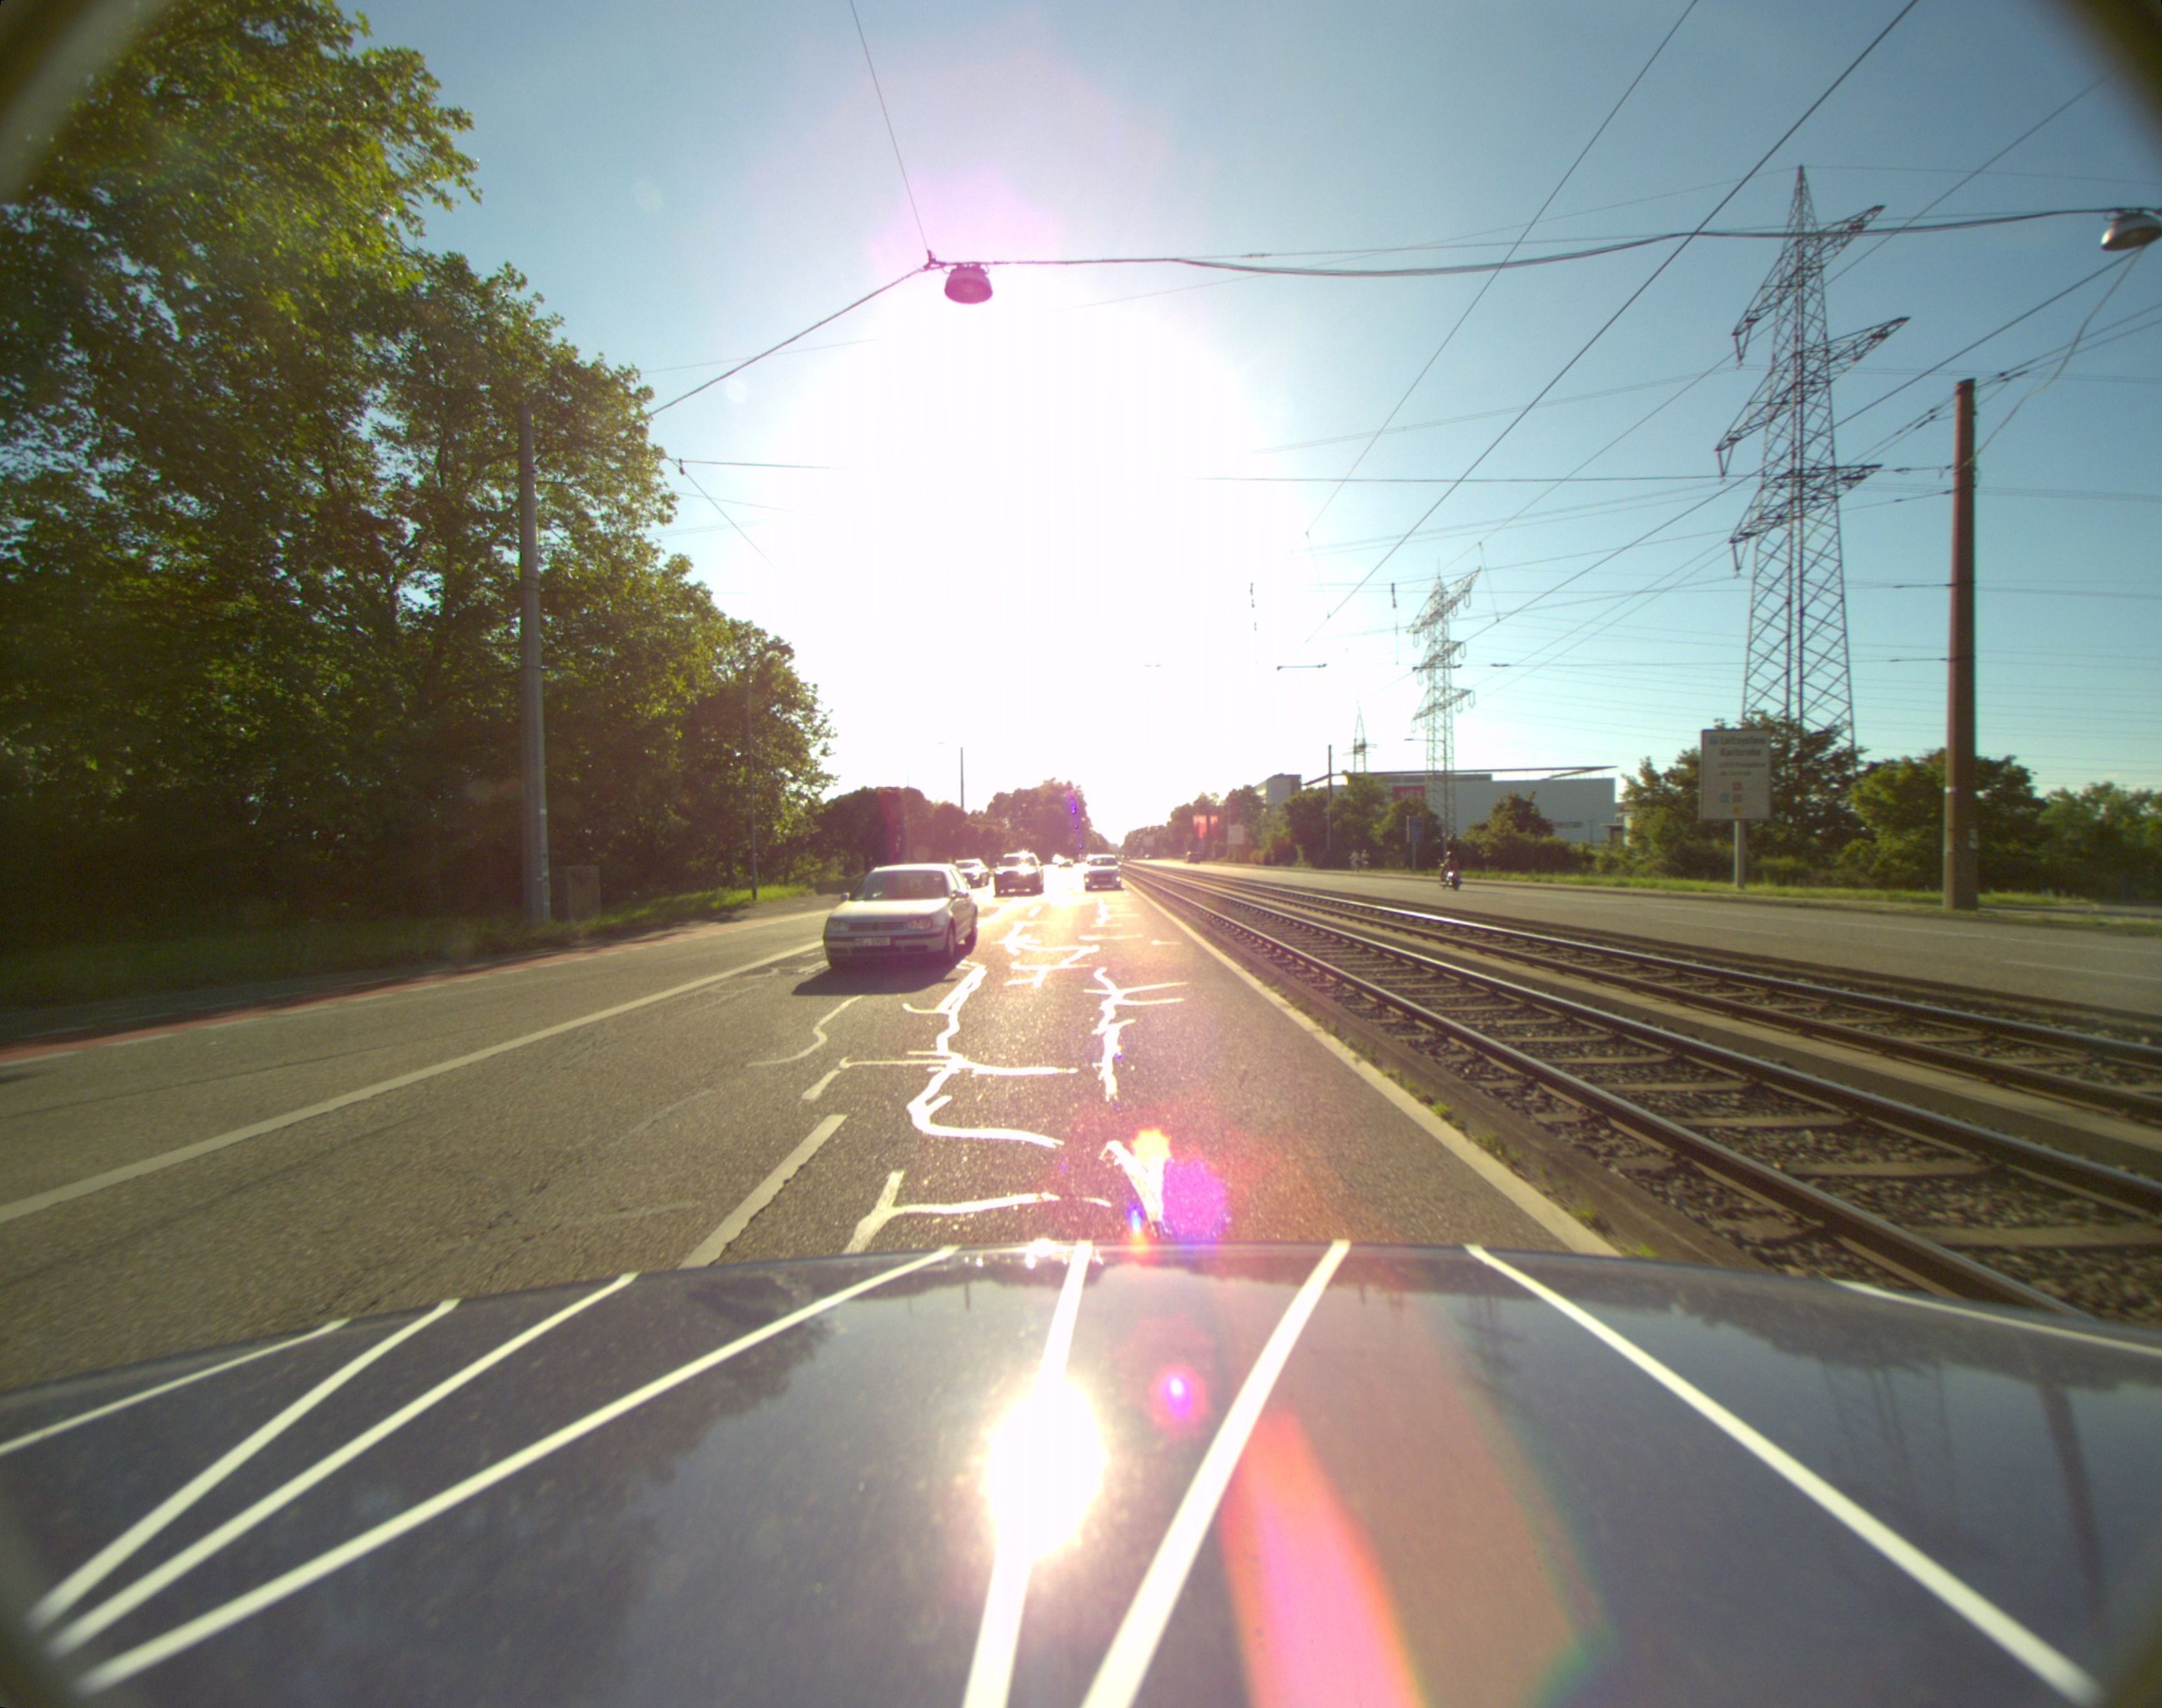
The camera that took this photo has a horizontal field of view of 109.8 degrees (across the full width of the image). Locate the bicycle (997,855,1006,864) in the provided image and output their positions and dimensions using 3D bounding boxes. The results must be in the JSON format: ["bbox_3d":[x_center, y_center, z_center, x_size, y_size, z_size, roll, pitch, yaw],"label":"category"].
[{"bbox_3d":[-8.027,0.536,76.367,0.628,0.829,1.635,3,1,3],"label":"bicycle"}]

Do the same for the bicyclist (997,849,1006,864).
[{"bbox_3d":[-8.009,0.203,76.431,0.628,1.463,1.060,3,1,3],"label":"bicyclist"}]

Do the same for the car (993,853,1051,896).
[{"bbox_3d":[-2.429,0.787,32.196,1.881,1.591,4.416,-1,1,2],"label":"car"}]

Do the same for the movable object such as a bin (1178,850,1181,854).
[{"bbox_3d":[24.690,-0.573,189.669,0.614,0.960,1.083,-3,1,1],"label":"movable object such as a bin"}]

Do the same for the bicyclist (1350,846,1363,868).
[{"bbox_3d":[20.399,0.230,56.335,0.591,1.601,0.967,-1,1,0],"label":"bicyclist"}]

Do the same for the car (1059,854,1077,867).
[{"bbox_3d":[-1.577,0.784,91.867,1.881,1.449,4.416,-1,1,2],"label":"car"}]

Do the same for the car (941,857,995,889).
[{"bbox_3d":[-5.923,0.970,40.403,1.881,1.435,4.660,-1,1,3],"label":"car"}]

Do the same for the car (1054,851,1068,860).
[{"bbox_3d":[-3.388,0.246,131.770,1.880,1.449,4.417,-1,1,5],"label":"car"}]

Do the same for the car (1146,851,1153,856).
[{"bbox_3d":[23.674,-0.058,263.006,1.999,1.616,4.681,0,1,-3],"label":"car"}]

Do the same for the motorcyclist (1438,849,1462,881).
[{"bbox_3d":[14.721,0.431,30.348,0.537,1.263,0.805,-3,1,1],"label":"motorcyclist"}]

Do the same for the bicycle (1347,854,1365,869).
[{"bbox_3d":[20.411,0.546,56.399,0.591,1.016,2.185,-1,1,0],"label":"bicycle"}]

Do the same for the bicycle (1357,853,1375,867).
[{"bbox_3d":[21.582,0.473,57.630,0.591,1.016,2.185,-1,1,0],"label":"bicycle"}]

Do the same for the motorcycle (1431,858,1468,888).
[{"bbox_3d":[14.729,0.738,30.388,0.537,1.084,1.902,-3,1,1],"label":"motorcycle"}]

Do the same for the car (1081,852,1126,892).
[{"bbox_3d":[1.050,0.739,34.317,1.881,1.591,4.416,-1,1,2],"label":"car"}]

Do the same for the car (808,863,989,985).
[{"bbox_3d":[-2.612,0.934,11.858,1.695,1.437,4.001,-1,1,2],"label":"car"}]

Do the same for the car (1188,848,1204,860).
[{"bbox_3d":[18.645,-0.021,123.481,1.998,1.911,4.862,0,-1,2],"label":"car"}]

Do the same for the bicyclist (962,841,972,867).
[{"bbox_3d":[-8.925,0.020,59.501,0.528,2.005,0.729,-3,1,2],"label":"bicyclist"}]

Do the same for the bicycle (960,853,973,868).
[{"bbox_3d":[-8.914,0.503,59.204,0.528,1.054,1.972,-3,0,2],"label":"bicycle"}]

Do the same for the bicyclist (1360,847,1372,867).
[{"bbox_3d":[21.580,0.211,57.554,0.591,1.519,0.906,-1,1,0],"label":"bicyclist"}]

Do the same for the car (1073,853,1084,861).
[{"bbox_3d":[-0.480,0.546,151.736,1.880,1.449,4.417,-1,1,5],"label":"car"}]
